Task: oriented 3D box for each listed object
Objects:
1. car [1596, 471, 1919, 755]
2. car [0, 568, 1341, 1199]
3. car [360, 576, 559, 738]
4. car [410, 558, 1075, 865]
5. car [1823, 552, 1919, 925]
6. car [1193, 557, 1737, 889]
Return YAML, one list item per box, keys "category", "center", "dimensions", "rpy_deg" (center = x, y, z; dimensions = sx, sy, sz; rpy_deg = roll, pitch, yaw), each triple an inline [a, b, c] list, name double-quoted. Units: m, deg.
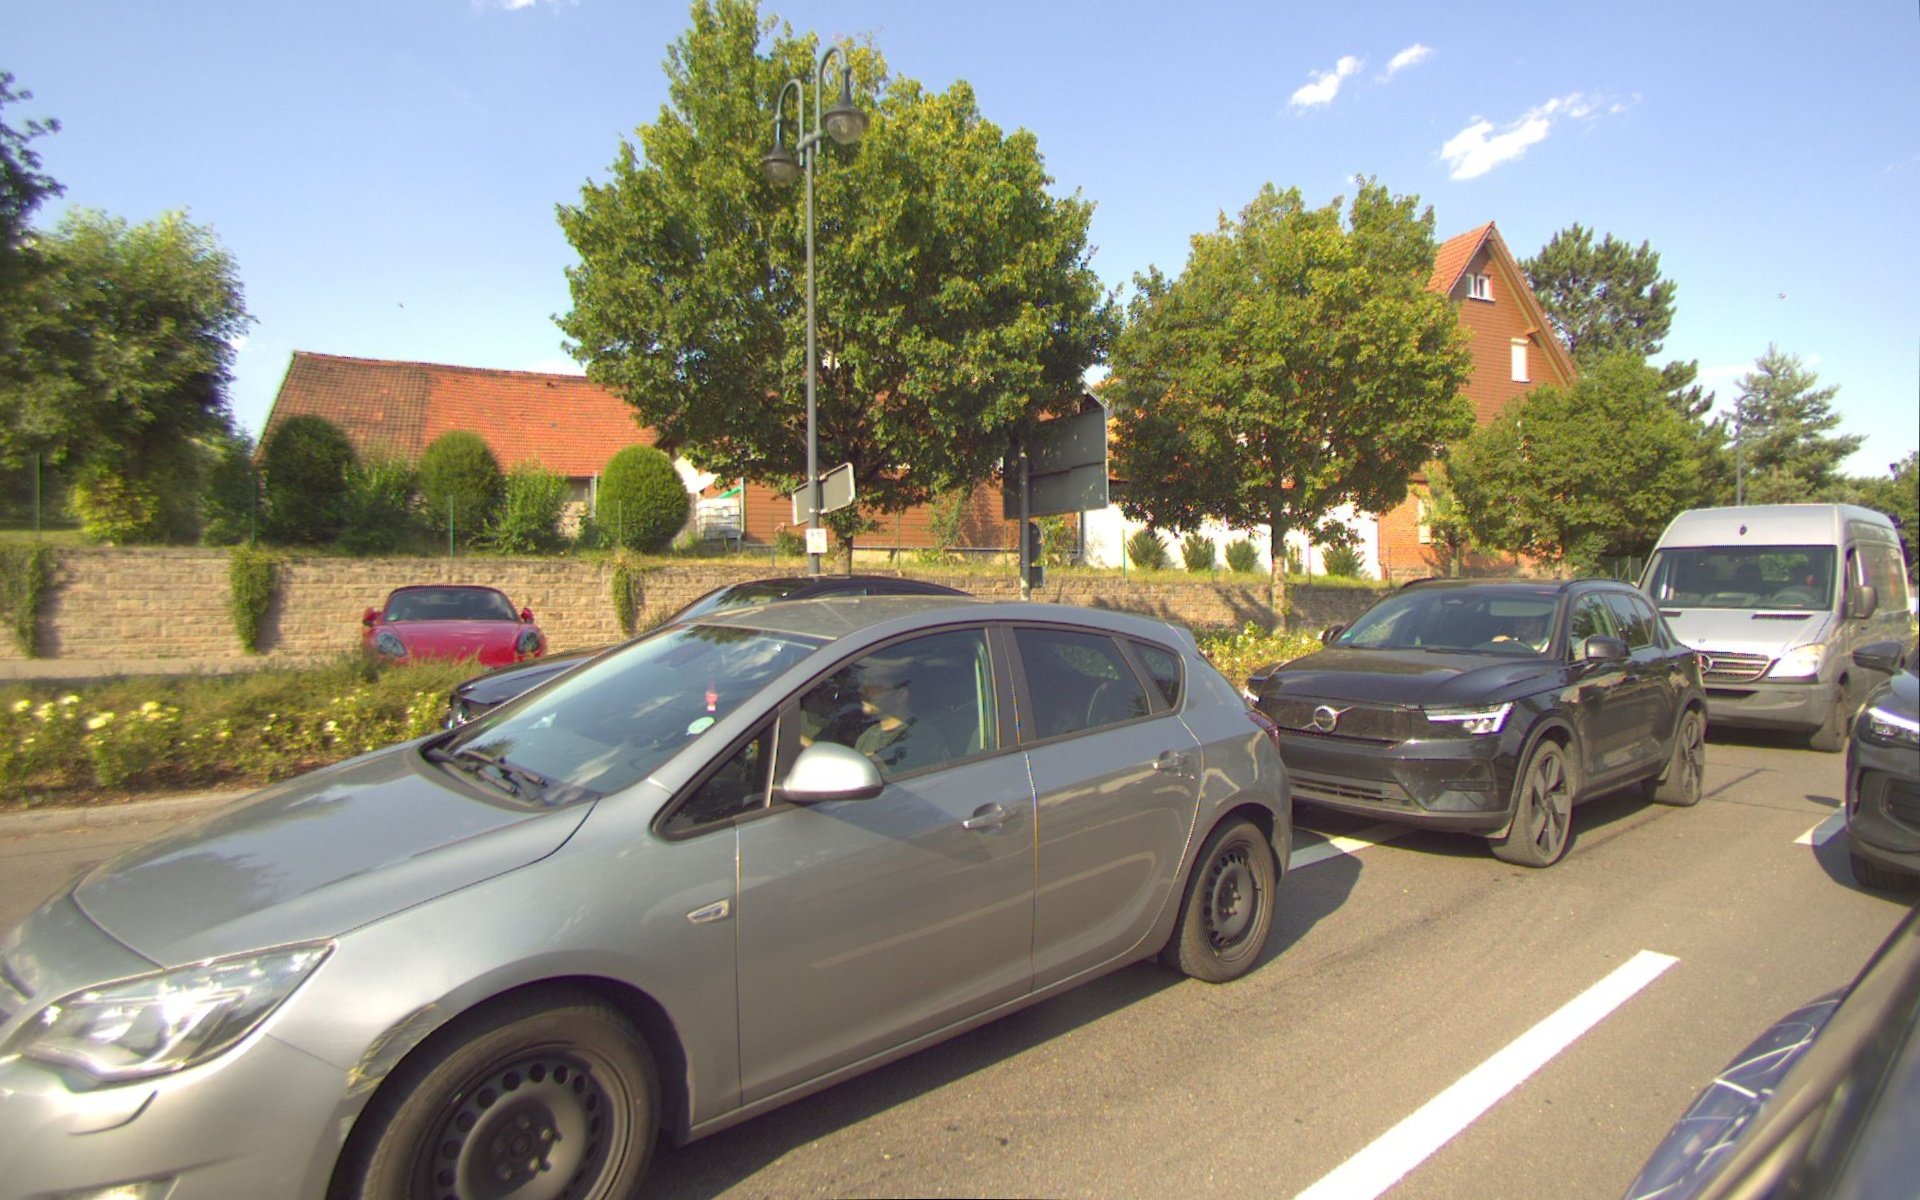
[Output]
- category: "car"
  center: [9.716, 0.087, 11.949]
  dimensions: [5.938, 2.601, 1.992]
  rpy_deg: [0, 1, -40]
- category: "car"
  center: [-0.570, 0.666, 3.502]
  dimensions: [4.244, 1.471, 1.765]
  rpy_deg: [0, 2, -42]
- category: "car"
  center: [-5.908, 0.524, 11.693]
  dimensions: [1.743, 1.510, 4.156]
  rpy_deg: [0, 0, -31]
- category: "car"
  center: [-1.372, 0.558, 7.468]
  dimensions: [4.483, 1.628, 1.766]
  rpy_deg: [0, 2, -39]
- category: "car"
  center: [6.203, 0.619, 5.317]
  dimensions: [4.242, 1.629, 1.844]
  rpy_deg: [0, 2, -40]
- category: "car"
  center: [3.687, 0.569, 7.041]
  dimensions: [4.242, 1.629, 1.844]
  rpy_deg: [0, 2, -40]
